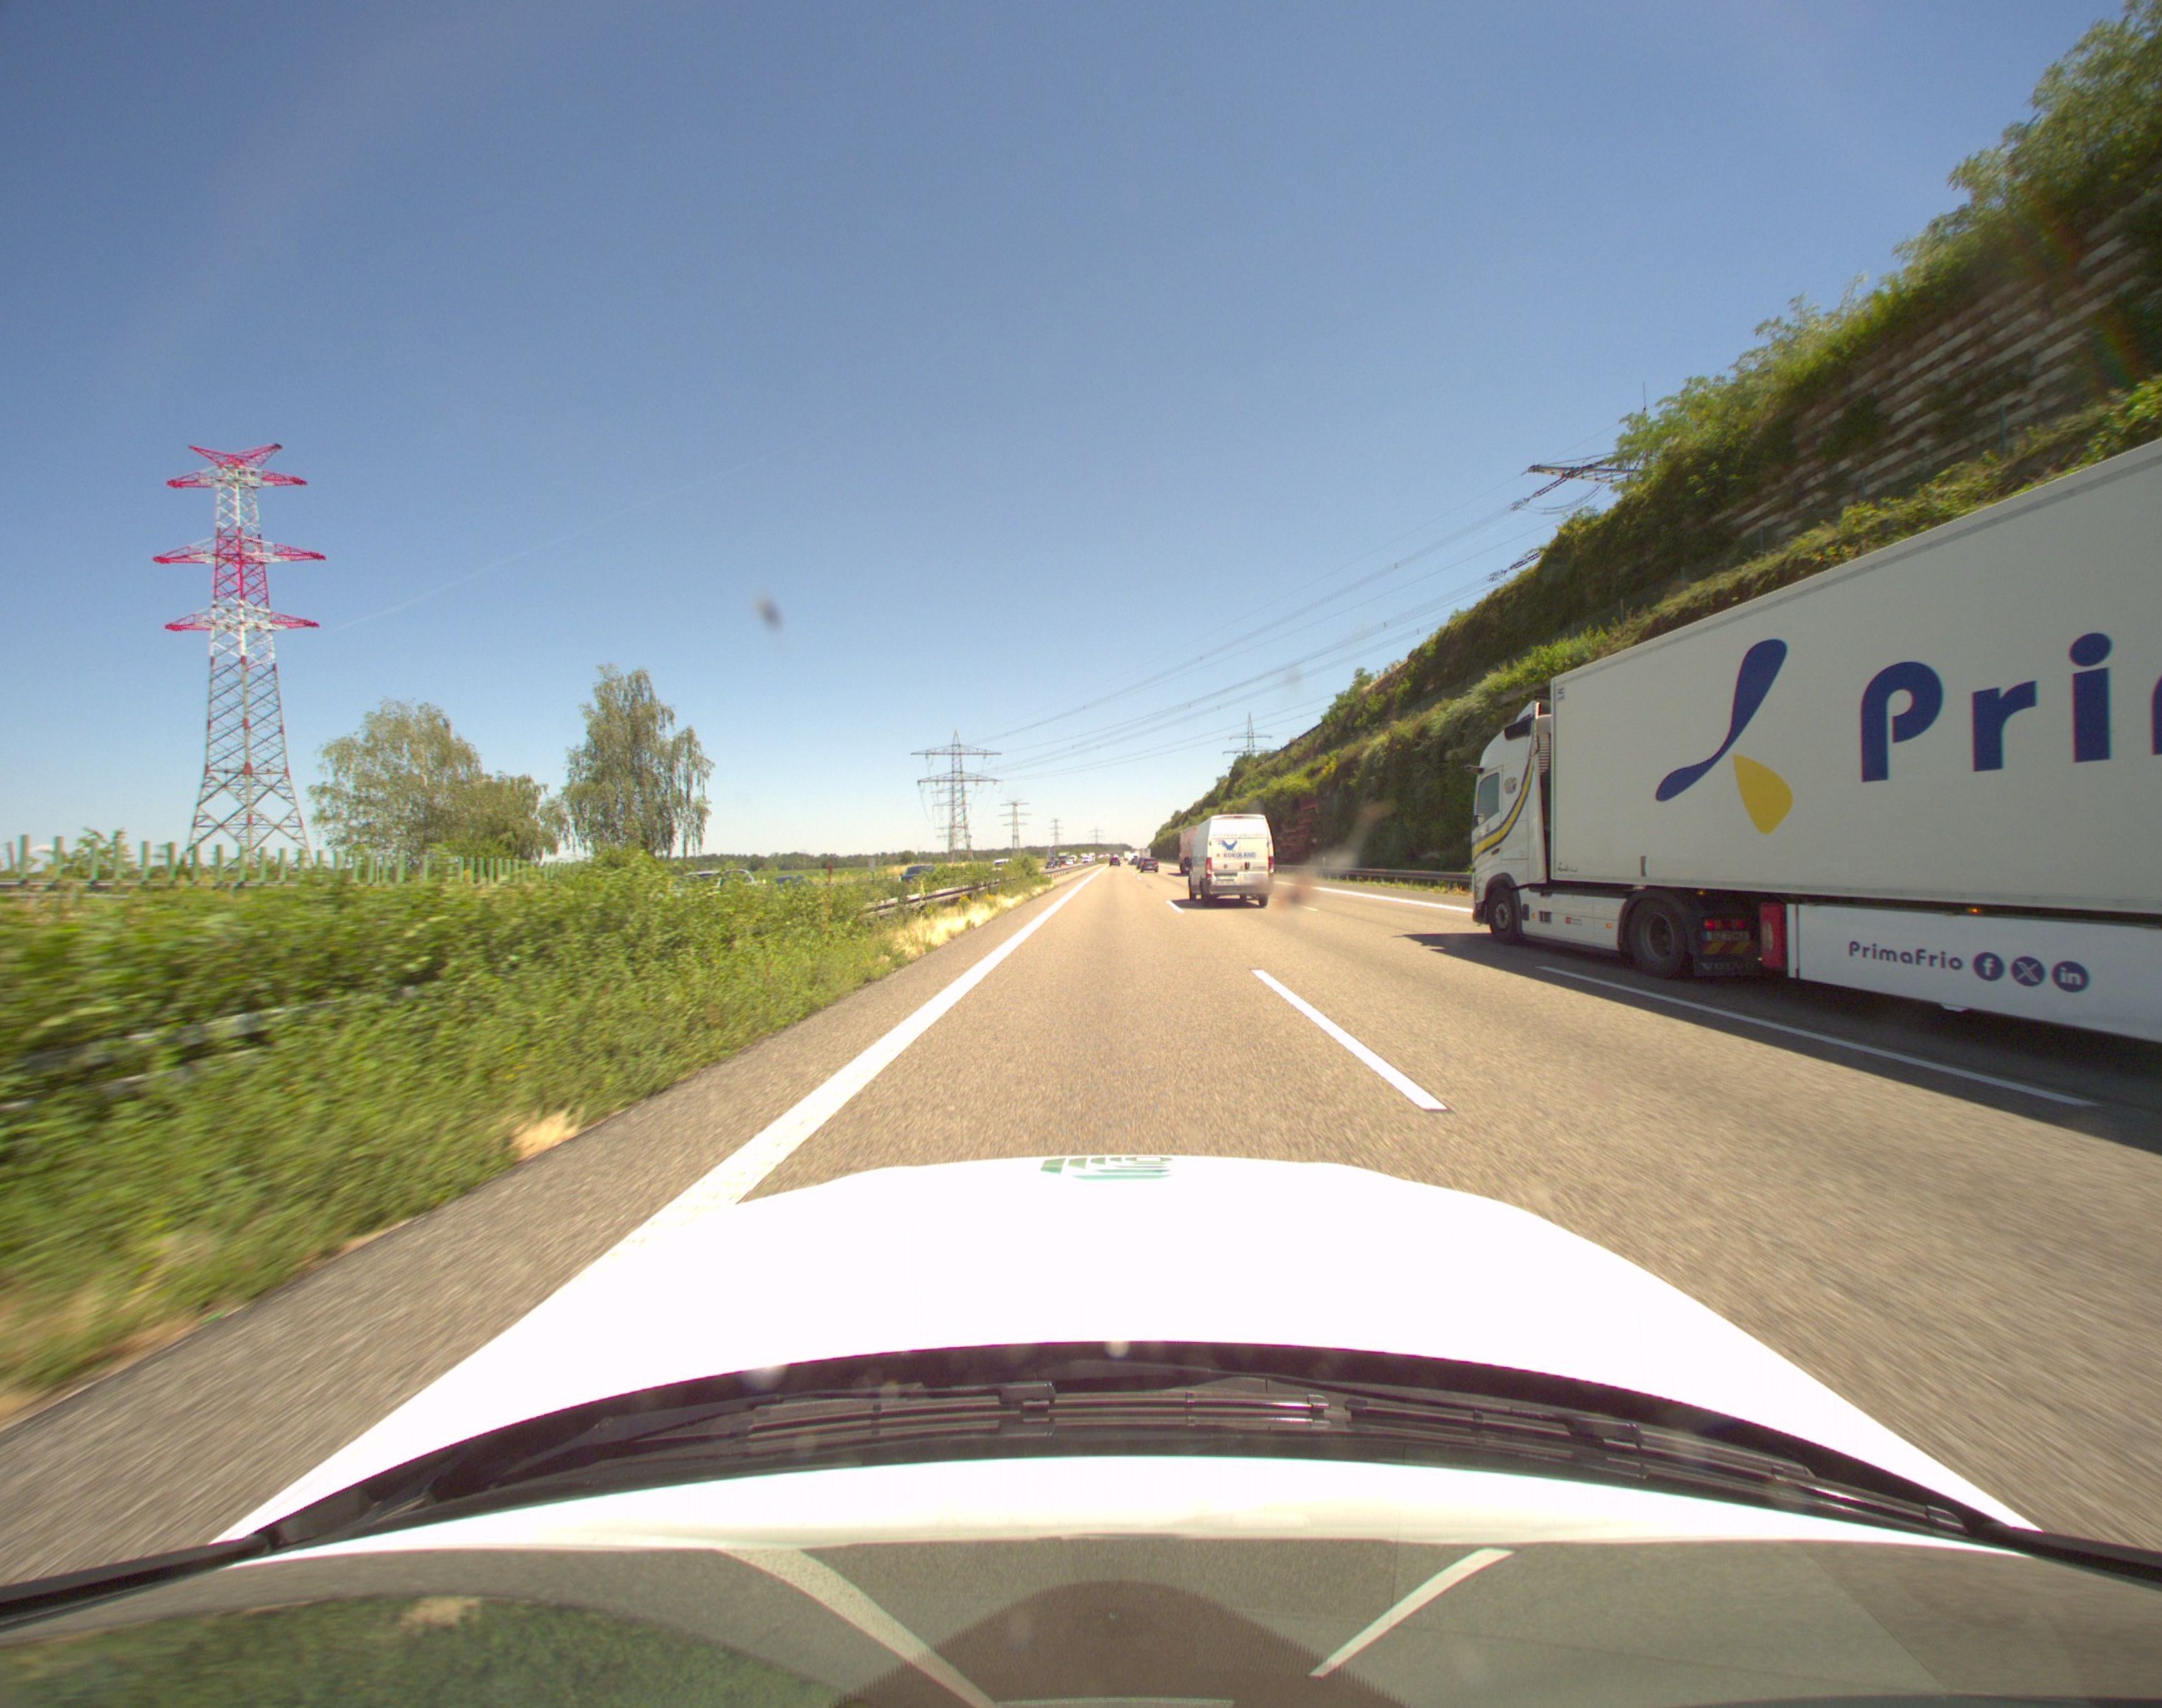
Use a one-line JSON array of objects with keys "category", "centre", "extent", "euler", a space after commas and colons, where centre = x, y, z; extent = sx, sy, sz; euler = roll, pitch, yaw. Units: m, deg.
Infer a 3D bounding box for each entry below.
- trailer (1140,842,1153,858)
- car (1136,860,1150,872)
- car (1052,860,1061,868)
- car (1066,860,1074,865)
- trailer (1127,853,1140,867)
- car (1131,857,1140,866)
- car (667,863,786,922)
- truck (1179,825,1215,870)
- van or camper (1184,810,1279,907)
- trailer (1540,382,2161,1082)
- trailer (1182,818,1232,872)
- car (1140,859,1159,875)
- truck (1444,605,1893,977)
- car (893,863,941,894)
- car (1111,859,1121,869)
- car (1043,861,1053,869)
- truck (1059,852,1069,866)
[{"category": "trailer", "centre": [18.277, -0.992, 226.653], "extent": [3.170, 4.121, 13.442], "euler": [-2, -1, 3]}, {"category": "car", "centre": [8.291, 1.600, 109.537], "extent": [1.787, 1.653, 4.141], "euler": [-1, 0, 3]}, {"category": "car", "centre": [-5.604, 2.300, 186.649], "extent": [1.833, 1.629, 4.416], "euler": [-4, 0, 2]}, {"category": "car", "centre": [-3.173, 2.451, 235.768], "extent": [1.701, 1.524, 4.516], "euler": [-4, -1, 2]}, {"category": "trailer", "centre": [11.904, 1.371, 185.484], "extent": [2.600, 3.213, 9.959], "euler": [-2, -1, 3]}, {"category": "car", "centre": [10.830, 1.477, 161.475], "extent": [1.822, 1.525, 4.004], "euler": [-2, -1, 4]}, {"category": "car", "centre": [-12.278, 1.265, 28.640], "extent": [1.782, 1.765, 5.019], "euler": [-2, 0, 2]}, {"category": "truck", "centre": [10.740, -0.566, 75.716], "extent": [2.607, 3.992, 6.531], "euler": [-1, 0, 3]}, {"category": "van or camper", "centre": [4.788, 0.152, 27.013], "extent": [2.088, 2.769, 6.760], "euler": [-1, 0, 2]}, {"category": "trailer", "centre": [7.715, -0.749, 3.415], "extent": [2.505, 4.212, 17.035], "euler": [-1, 0, 2]}, {"category": "trailer", "centre": [10.412, -0.640, 68.654], "extent": [2.634, 4.005, 13.615], "euler": [-1, 0, 3]}, {"category": "car", "centre": [7.175, 1.364, 85.775], "extent": [1.742, 1.525, 3.998], "euler": [-2, -1, 2]}, {"category": "truck", "centre": [8.053, -0.694, 12.376], "extent": [2.497, 4.220, 6.259], "euler": [0, -1, 3]}, {"category": "car", "centre": [-10.279, 1.467, 51.326], "extent": [1.782, 1.765, 5.019], "euler": [-2, 0, 2]}, {"category": "car", "centre": [6.373, 1.760, 148.903], "extent": [1.822, 1.670, 4.003], "euler": [-2, -1, 3]}, {"category": "car", "centre": [-6.606, 2.189, 163.013], "extent": [1.612, 1.460, 4.284], "euler": [-5, 0, 1]}, {"category": "truck", "centre": [-5.473, 1.526, 260.285], "extent": [2.688, 4.134, 6.584], "euler": [-2, 0, 2]}]
